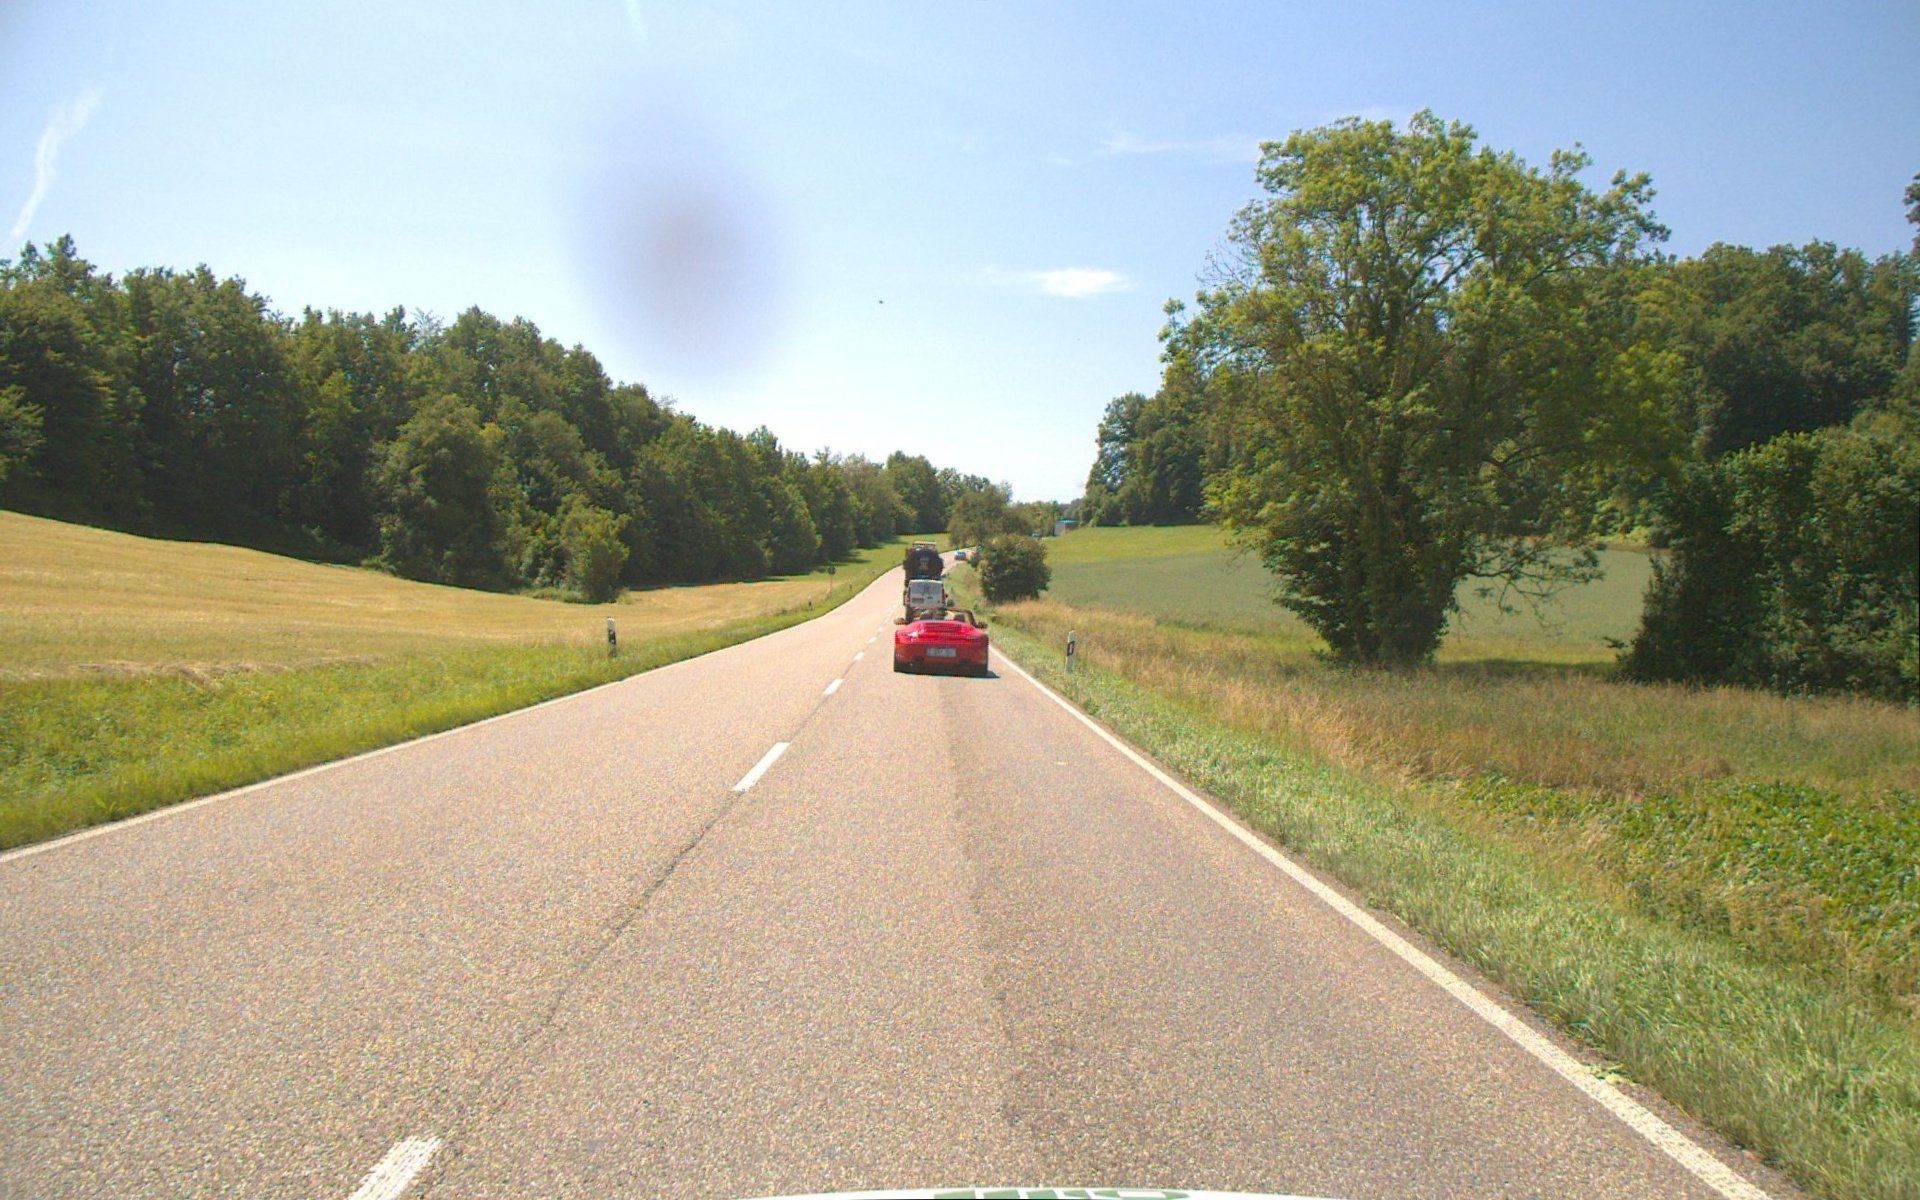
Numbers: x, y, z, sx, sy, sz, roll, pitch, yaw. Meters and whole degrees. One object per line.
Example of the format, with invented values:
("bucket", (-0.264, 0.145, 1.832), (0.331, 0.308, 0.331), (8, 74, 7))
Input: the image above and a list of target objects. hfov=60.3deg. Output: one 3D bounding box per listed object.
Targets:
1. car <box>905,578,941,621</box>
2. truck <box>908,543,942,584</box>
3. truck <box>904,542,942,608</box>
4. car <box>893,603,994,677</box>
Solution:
("car", (-1.716, -0.015, 77.858), (1.644, 1.934, 4.009), (-1, 0, -1))
("truck", (-4.239, -4.436, 197.466), (3.651, 4.741, 12.026), (-1, 2, -3))
("truck", (-2.621, -1.850, 114.195), (2.356, 4.119, 12.547), (-1, 3, -2))
("car", (-0.365, 0.757, 32.997), (1.845, 1.277, 4.008), (2, 0, -2))
